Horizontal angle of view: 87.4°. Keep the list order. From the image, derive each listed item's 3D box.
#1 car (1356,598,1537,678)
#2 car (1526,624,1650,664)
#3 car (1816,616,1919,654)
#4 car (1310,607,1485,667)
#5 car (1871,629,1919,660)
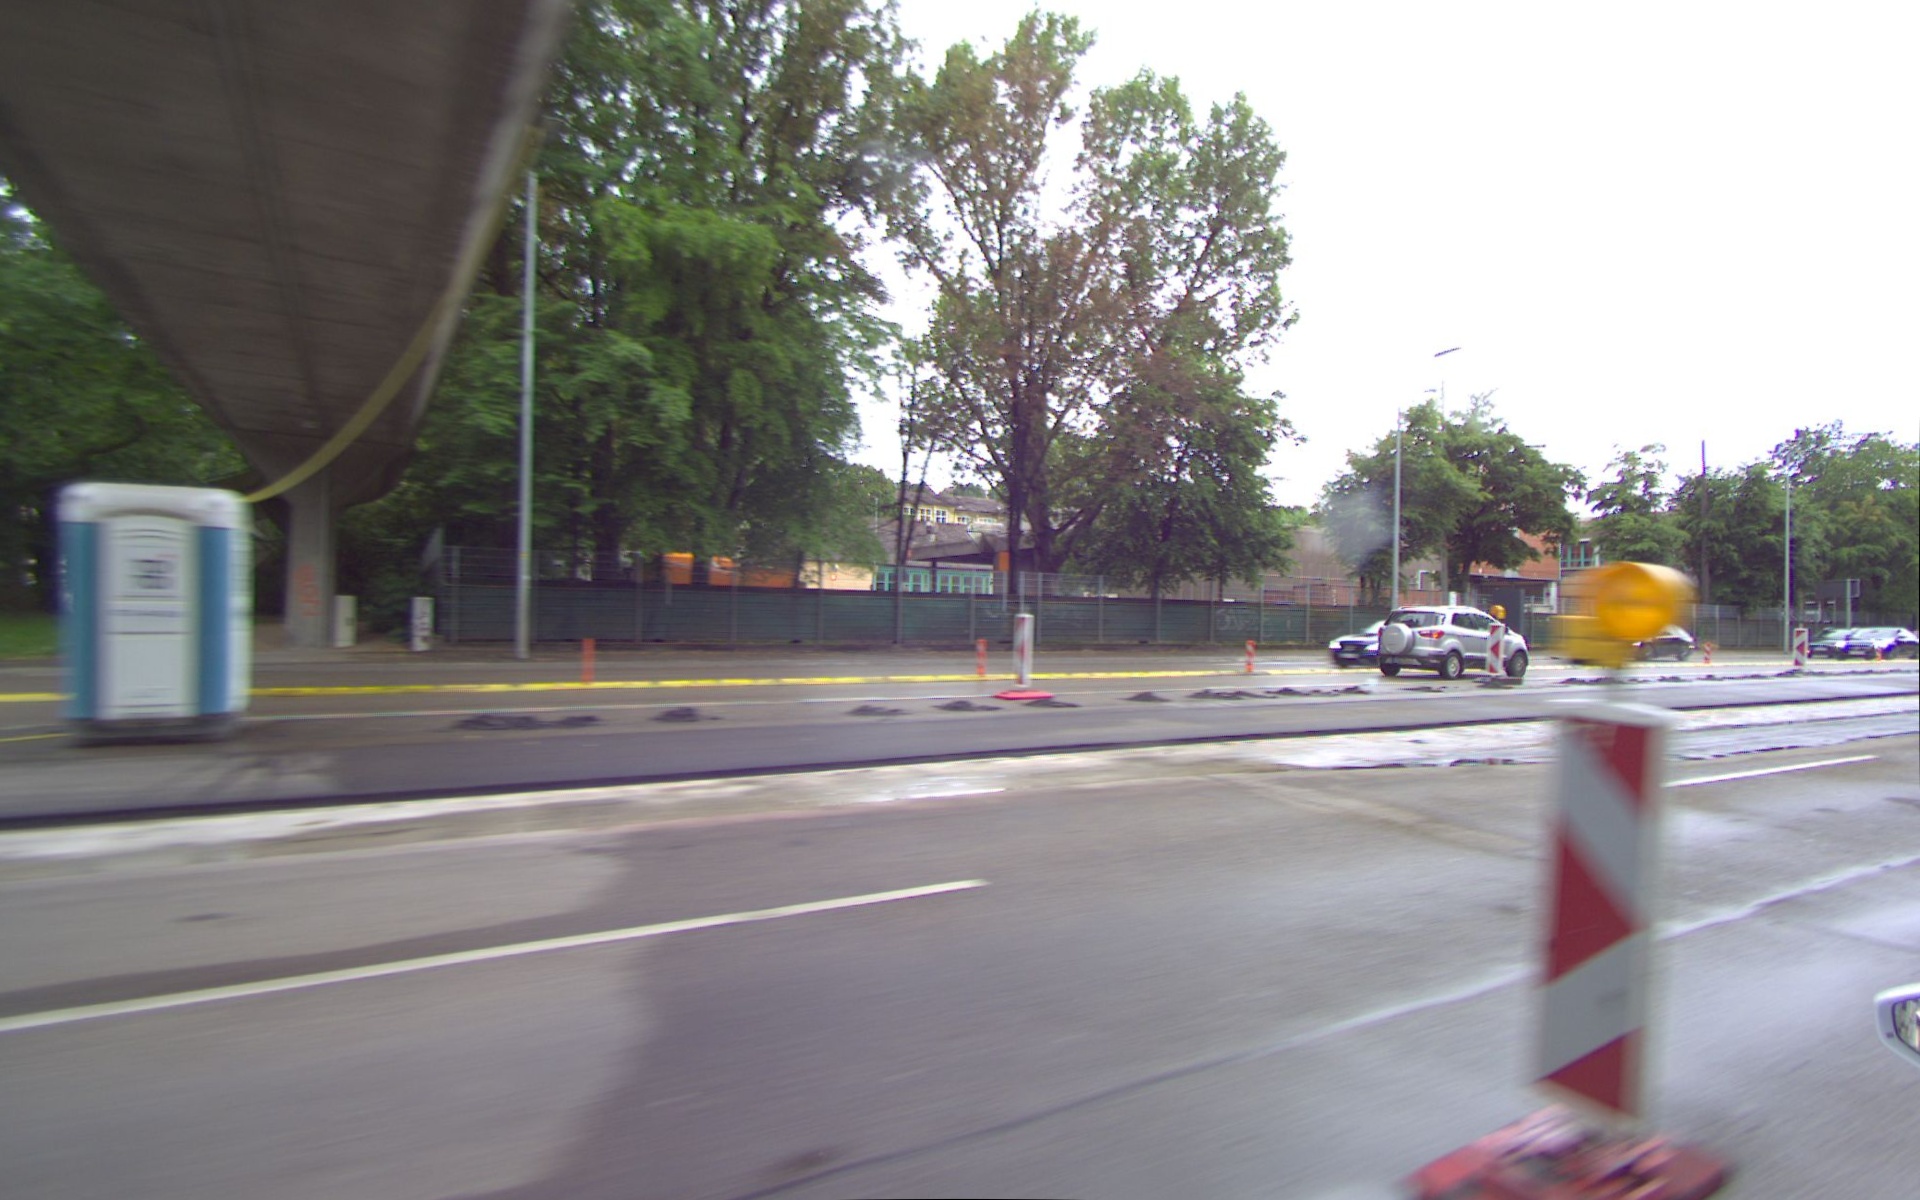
[{"bbox_3d":[11.220,0.858,23.133,3.953,1.670,1.845,2,0,-30],"label":"car"},{"bbox_3d":[23.570,1.639,37.688,4.509,1.366,1.985,2,0,-28],"label":"car"},{"bbox_3d":[39.979,1.536,44.121,5.029,1.533,2.068,1,0,-30],"label":"car"},{"bbox_3d":[12.032,1.008,27.528,4.829,1.479,1.983,2,0,-31],"label":"car"},{"bbox_3d":[51.064,2.410,53.932,4.254,1.538,1.984,2,0,-30],"label":"car"}]
